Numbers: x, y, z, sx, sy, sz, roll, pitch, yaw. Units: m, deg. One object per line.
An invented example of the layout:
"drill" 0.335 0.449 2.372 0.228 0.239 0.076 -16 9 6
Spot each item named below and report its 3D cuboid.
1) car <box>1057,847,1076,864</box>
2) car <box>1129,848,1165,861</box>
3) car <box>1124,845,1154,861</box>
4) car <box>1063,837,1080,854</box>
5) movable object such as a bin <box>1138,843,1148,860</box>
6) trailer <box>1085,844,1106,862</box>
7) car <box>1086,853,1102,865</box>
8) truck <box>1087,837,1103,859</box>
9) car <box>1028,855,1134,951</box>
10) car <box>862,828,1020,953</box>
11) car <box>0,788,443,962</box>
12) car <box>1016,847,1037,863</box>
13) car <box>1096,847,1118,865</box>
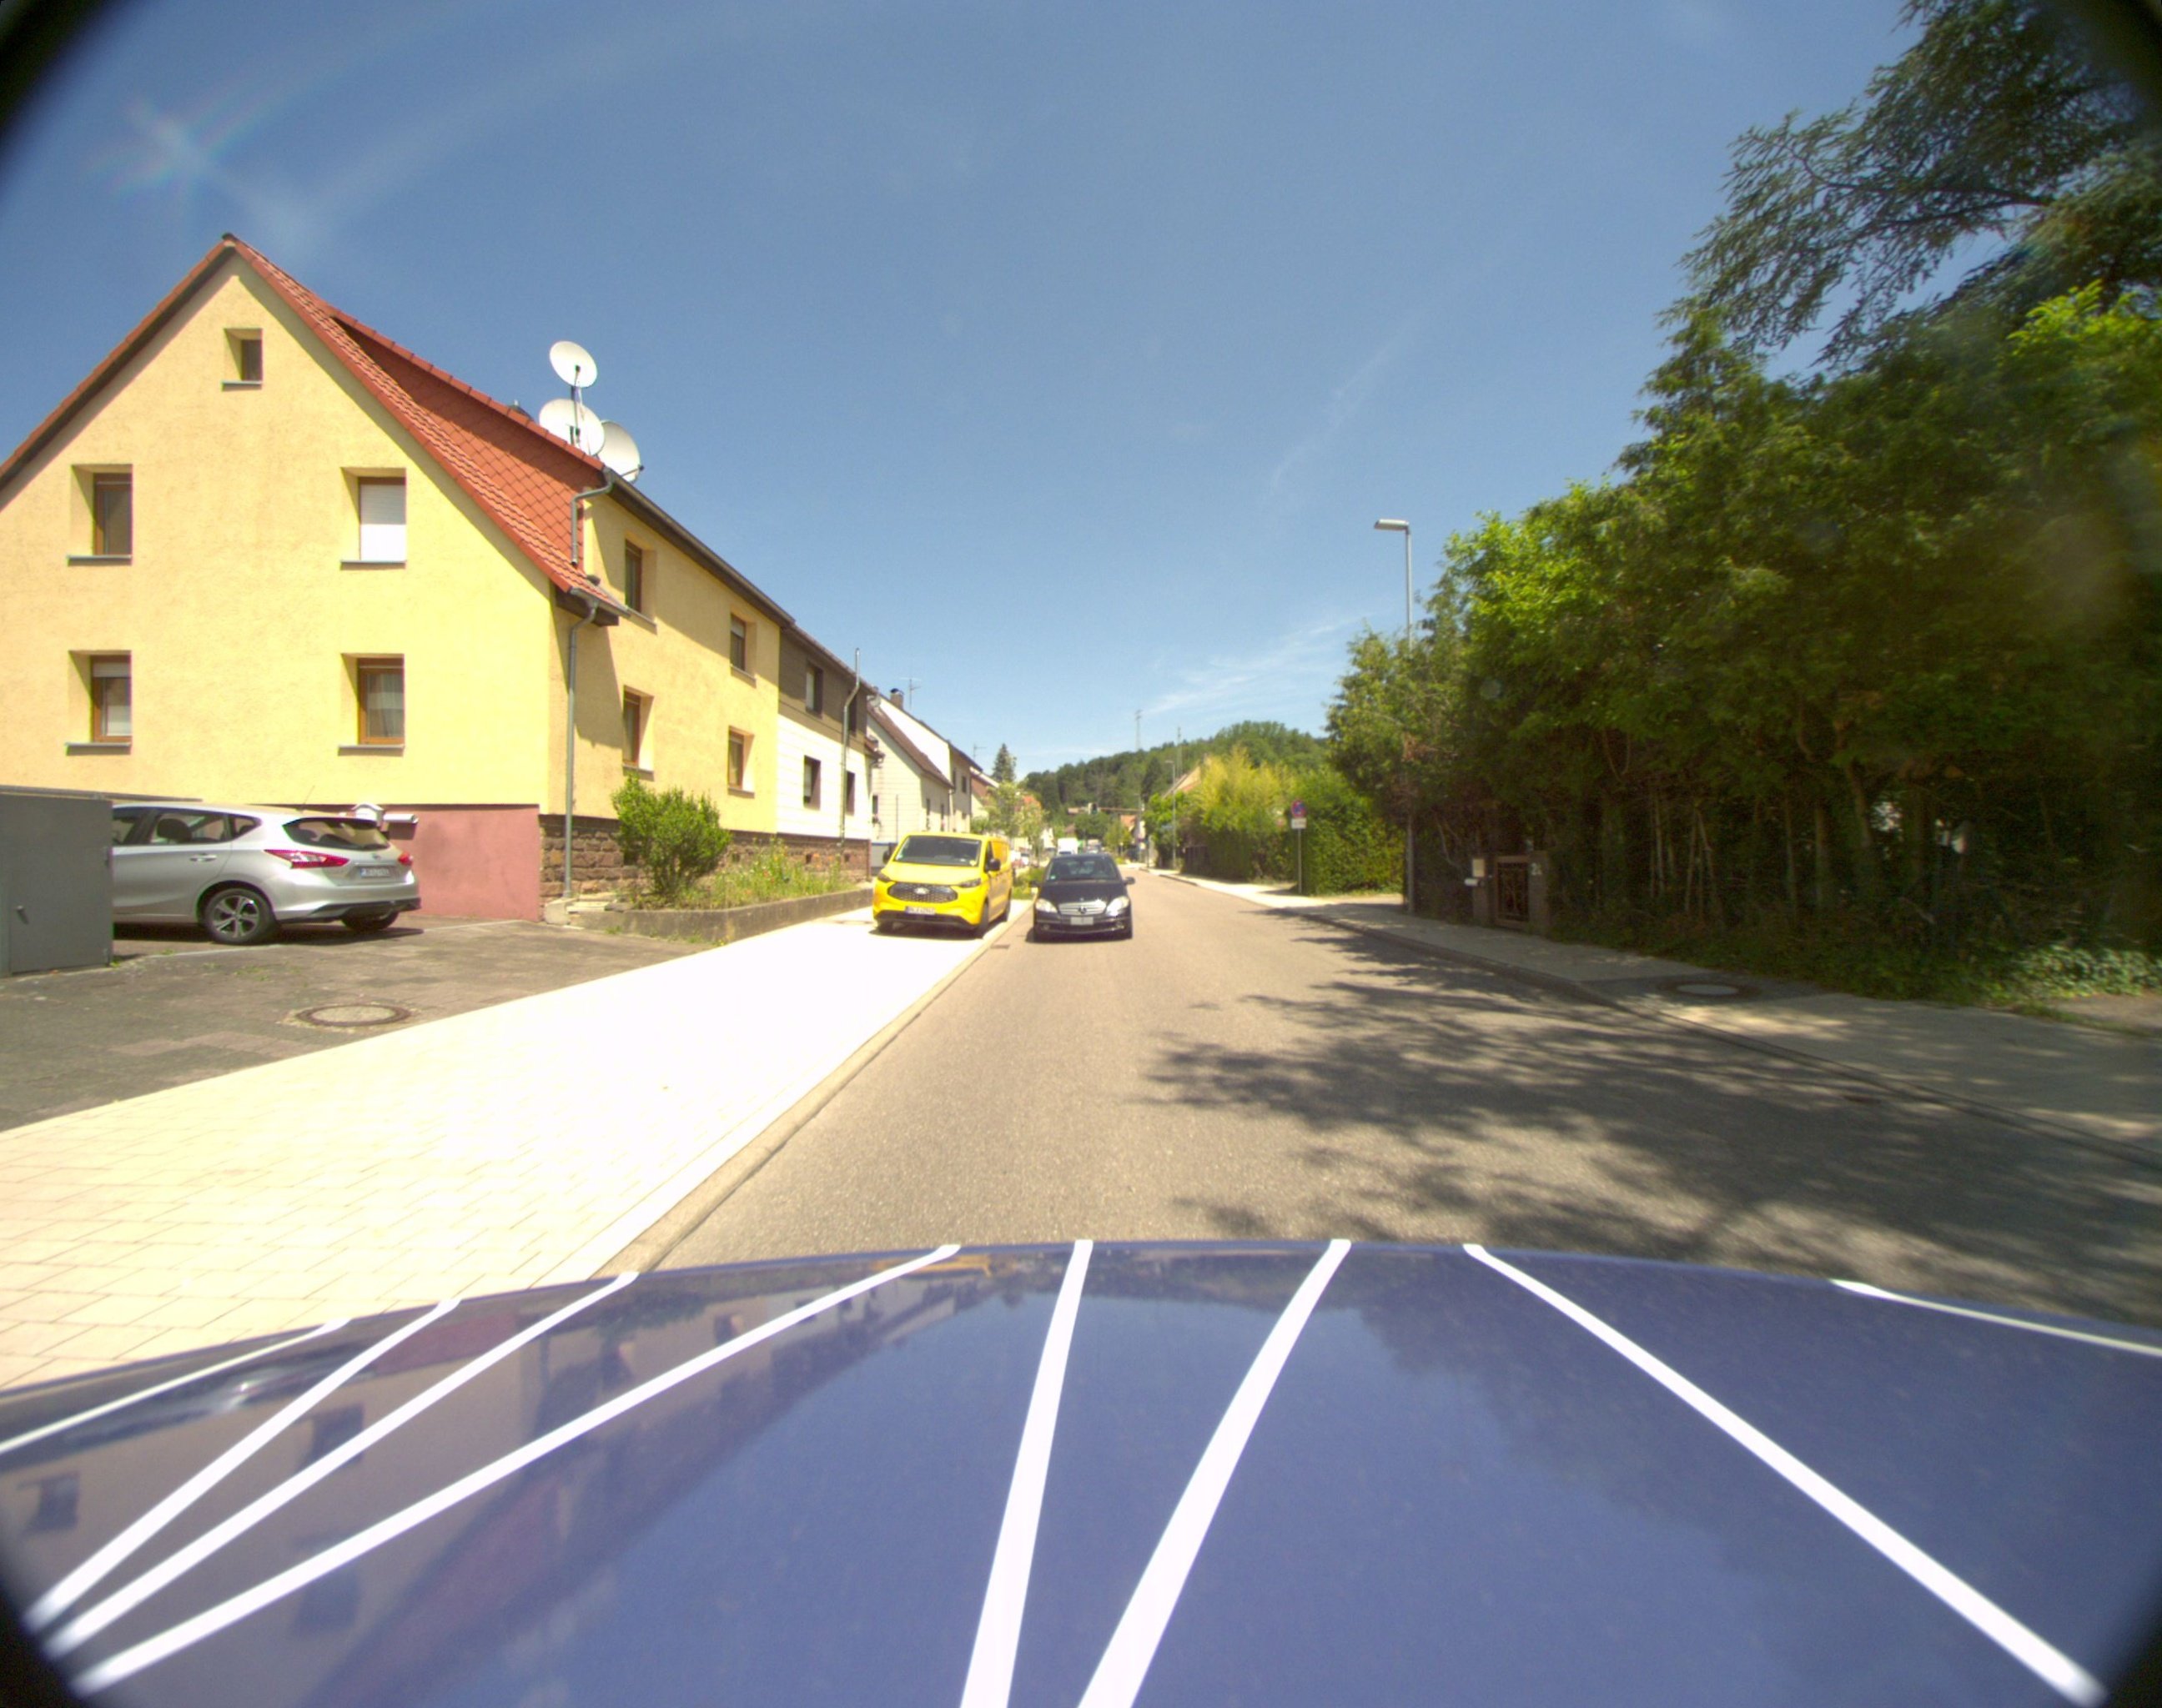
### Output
"car" -1.598 0.144 84.352 1.999 1.716 3.999 -2 1 -1
"car" 8.117 0.072 93.186 4.040 1.491 1.707 -1 2 39
"car" 7.461 -0.133 97.396 3.606 1.780 1.848 -2 1 -1
"car" -1.341 -1.197 106.305 1.986 2.170 4.000 -2 1 4
"movable object such as a bin" 7.413 -0.259 91.496 1.062 2.002 1.323 -2 2 0
"trailer" 1.742 -0.143 92.298 2.161 1.975 6.199 -2 1 -2
"car" 1.622 0.619 97.385 1.771 1.395 4.245 -2 2 -2
"truck" 2.453 -0.991 130.096 2.548 3.716 8.622 0 0 2
"car" 0.066 0.842 15.422 1.767 1.572 4.931 -2 0 2
"car" -2.598 0.574 15.712 2.195 2.002 5.621 4 1 -1
"car" -10.190 0.198 8.758 3.998 1.667 1.874 3 1 -2
"car" -6.213 0.107 86.935 1.867 1.612 4.507 3 1 2
"car" 2.464 0.181 72.777 1.872 1.643 3.948 -2 0 0
